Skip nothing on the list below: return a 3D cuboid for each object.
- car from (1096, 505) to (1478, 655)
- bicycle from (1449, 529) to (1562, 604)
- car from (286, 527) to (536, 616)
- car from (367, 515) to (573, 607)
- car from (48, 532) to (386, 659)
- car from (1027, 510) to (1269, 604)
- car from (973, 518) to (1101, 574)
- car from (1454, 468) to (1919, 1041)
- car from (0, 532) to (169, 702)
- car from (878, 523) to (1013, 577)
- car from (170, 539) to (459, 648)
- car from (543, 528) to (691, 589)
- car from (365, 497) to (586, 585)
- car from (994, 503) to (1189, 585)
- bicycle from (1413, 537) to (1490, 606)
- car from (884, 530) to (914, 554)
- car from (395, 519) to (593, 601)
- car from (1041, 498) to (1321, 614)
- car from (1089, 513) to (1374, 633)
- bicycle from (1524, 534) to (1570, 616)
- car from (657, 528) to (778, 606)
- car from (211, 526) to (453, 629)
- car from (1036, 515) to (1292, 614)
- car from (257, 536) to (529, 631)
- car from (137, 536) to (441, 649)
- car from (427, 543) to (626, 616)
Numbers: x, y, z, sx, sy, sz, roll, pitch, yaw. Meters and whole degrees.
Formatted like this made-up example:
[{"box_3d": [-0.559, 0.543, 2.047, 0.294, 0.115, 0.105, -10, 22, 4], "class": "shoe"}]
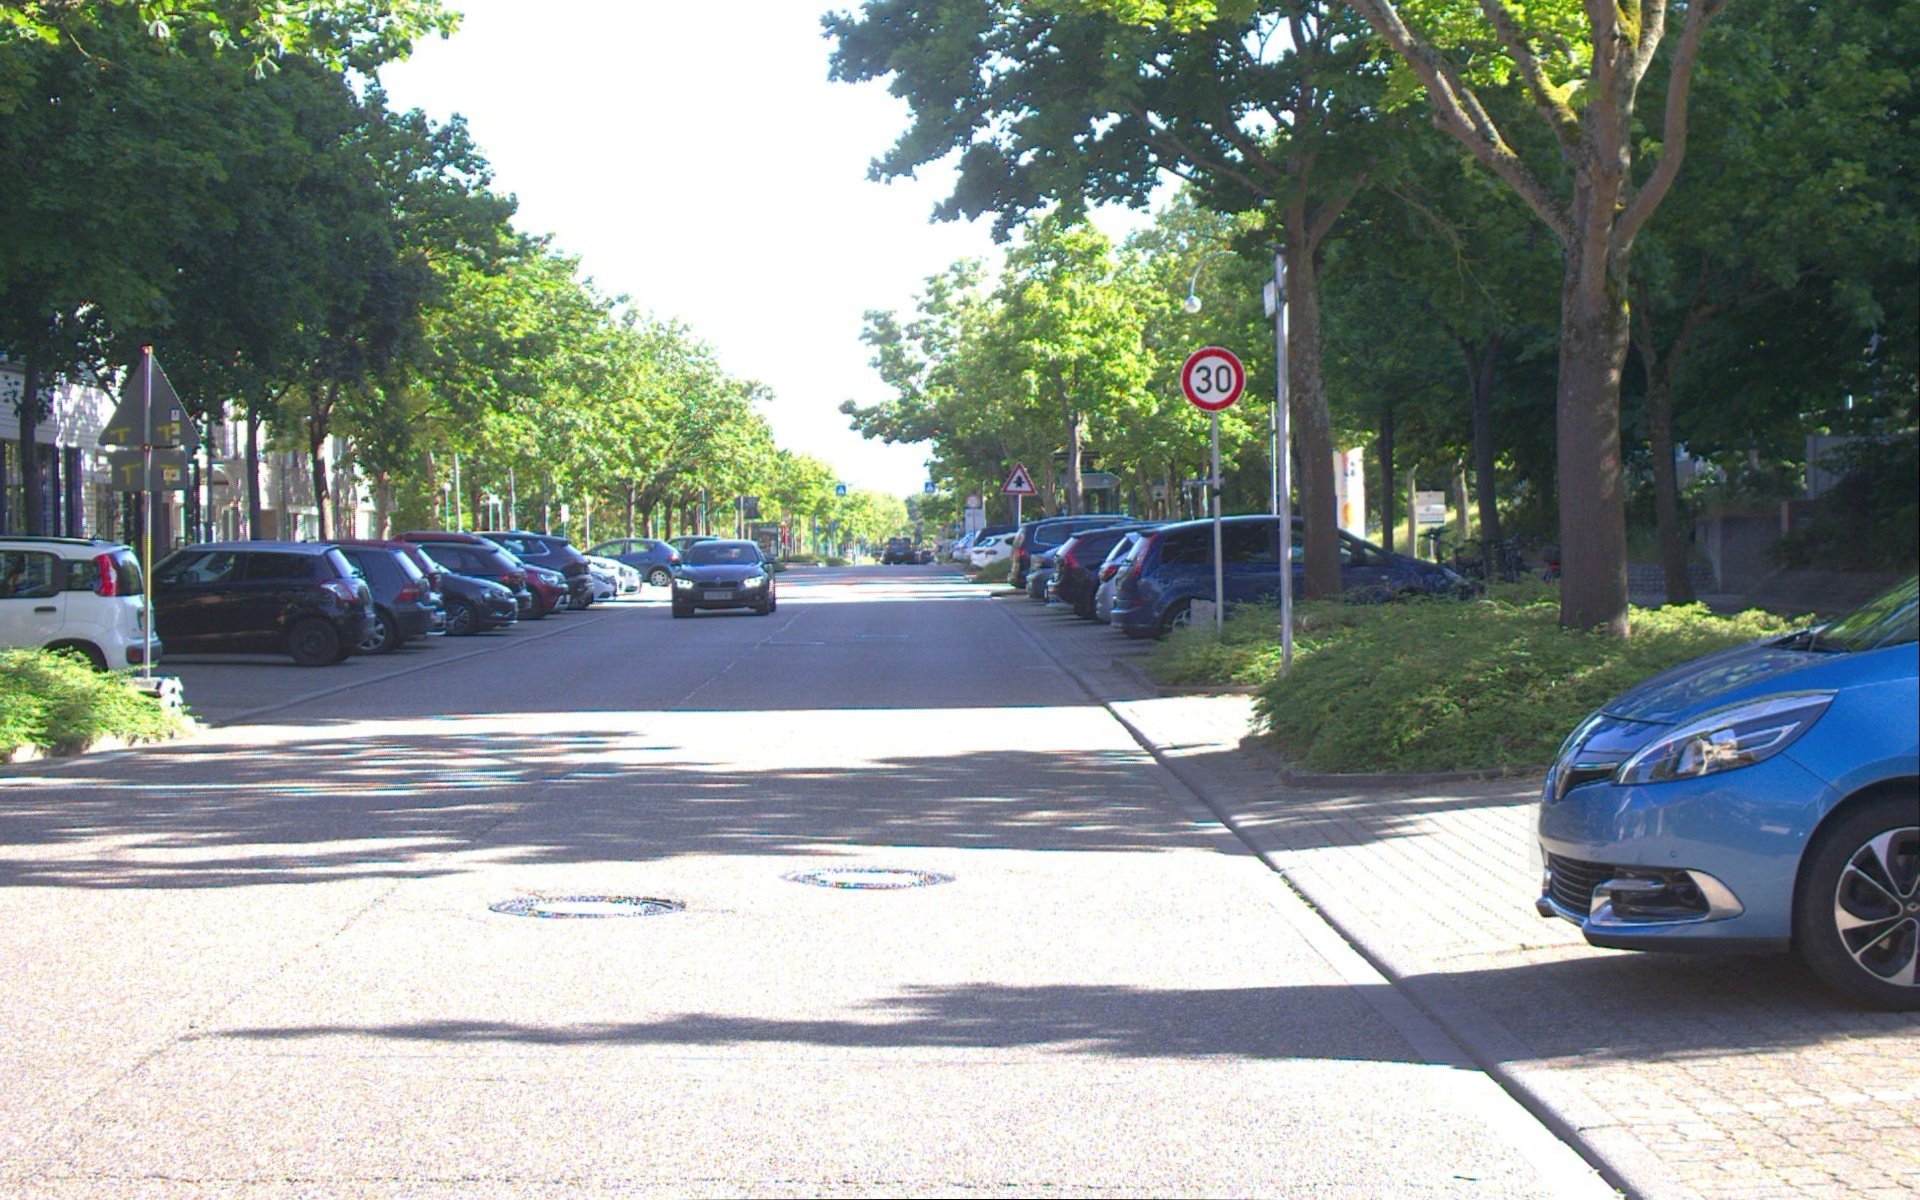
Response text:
[{"box_3d": [3.866, -0.249, 41.115, 4.267, 1.628, 1.858, -2, 1, -3], "class": "car"}, {"box_3d": [8.057, -0.495, 50.822, 0.379, 1.074, 1.786, -2, 1, -42], "class": "bicycle"}, {"box_3d": [-9.002, -0.468, 56.506, 3.986, 1.401, 1.606, 1, 1, -8], "class": "car"}, {"box_3d": [-9.099, -0.728, 64.048, 3.541, 1.651, 1.761, -1, 0, 1], "class": "car"}, {"box_3d": [-8.957, -0.072, 41.638, 3.732, 1.459, 1.677, -1, 1, -1], "class": "car"}, {"box_3d": [3.302, -0.756, 60.681, 4.043, 1.486, 1.550, -2, 1, -4], "class": "car"}, {"box_3d": [2.516, -1.766, 112.906, 3.986, 1.786, 2.000, -1, 1, -5], "class": "car"}, {"box_3d": [3.988, 0.330, 11.058, 4.405, 1.612, 1.912, -4, 1, -1], "class": "car"}, {"box_3d": [-9.322, 0.185, 32.018, 3.580, 1.544, 1.637, 0, -2, -3], "class": "car"}, {"box_3d": [-0.454, -1.542, 106.170, 3.986, 1.619, 2.000, -1, 1, -5], "class": "car"}, {"box_3d": [-9.181, -0.101, 49.092, 3.865, 1.452, 1.755, 1, 2, -3], "class": "car"}, {"box_3d": [-9.799, -1.195, 98.387, 3.987, 1.648, 1.860, -1, 1, 2], "class": "car"}, {"box_3d": [-9.457, -1.148, 67.287, 3.987, 1.581, 1.765, -1, 0, 2], "class": "car"}, {"box_3d": [2.755, -1.191, 72.709, 3.892, 1.650, 1.858, -1, 1, -5], "class": "car"}, {"box_3d": [7.829, -0.463, 54.808, 0.379, 1.074, 1.788, -1, 1, -21], "class": "bicycle"}, {"box_3d": [-4.052, -3.852, 227.586, 1.933, 1.592, 4.367, -1, 1, -1], "class": "car"}, {"box_3d": [-10.129, -0.883, 74.904, 3.987, 1.648, 1.860, -1, 1, 2], "class": "car"}, {"box_3d": [3.493, -0.701, 54.292, 4.249, 1.549, 1.920, -3, 1, 4], "class": "car"}, {"box_3d": [3.641, -0.375, 46.496, 3.635, 1.462, 1.633, -2, 1, -2], "class": "car"}, {"box_3d": [7.757, -0.336, 45.465, 0.379, 1.043, 1.884, -2, 1, 5], "class": "bicycle"}, {"box_3d": [-4.545, -0.644, 64.942, 1.813, 1.410, 4.107, 0, 1, 3], "class": "car"}, {"box_3d": [-9.364, -0.343, 51.418, 3.418, 1.458, 1.697, 1, 2, -6], "class": "car"}, {"box_3d": [3.399, -0.605, 57.665, 4.043, 1.585, 1.550, -1, 1, -8], "class": "car"}, {"box_3d": [-8.785, -0.262, 53.515, 3.986, 1.408, 1.666, 1, 1, -2], "class": "car"}, {"box_3d": [-8.993, -0.108, 46.284, 3.762, 1.440, 1.631, 1, 1, 0], "class": "car"}, {"box_3d": [-8.947, -0.436, 71.149, 3.892, 1.459, 1.858, -1, 1, -1], "class": "car"}]
